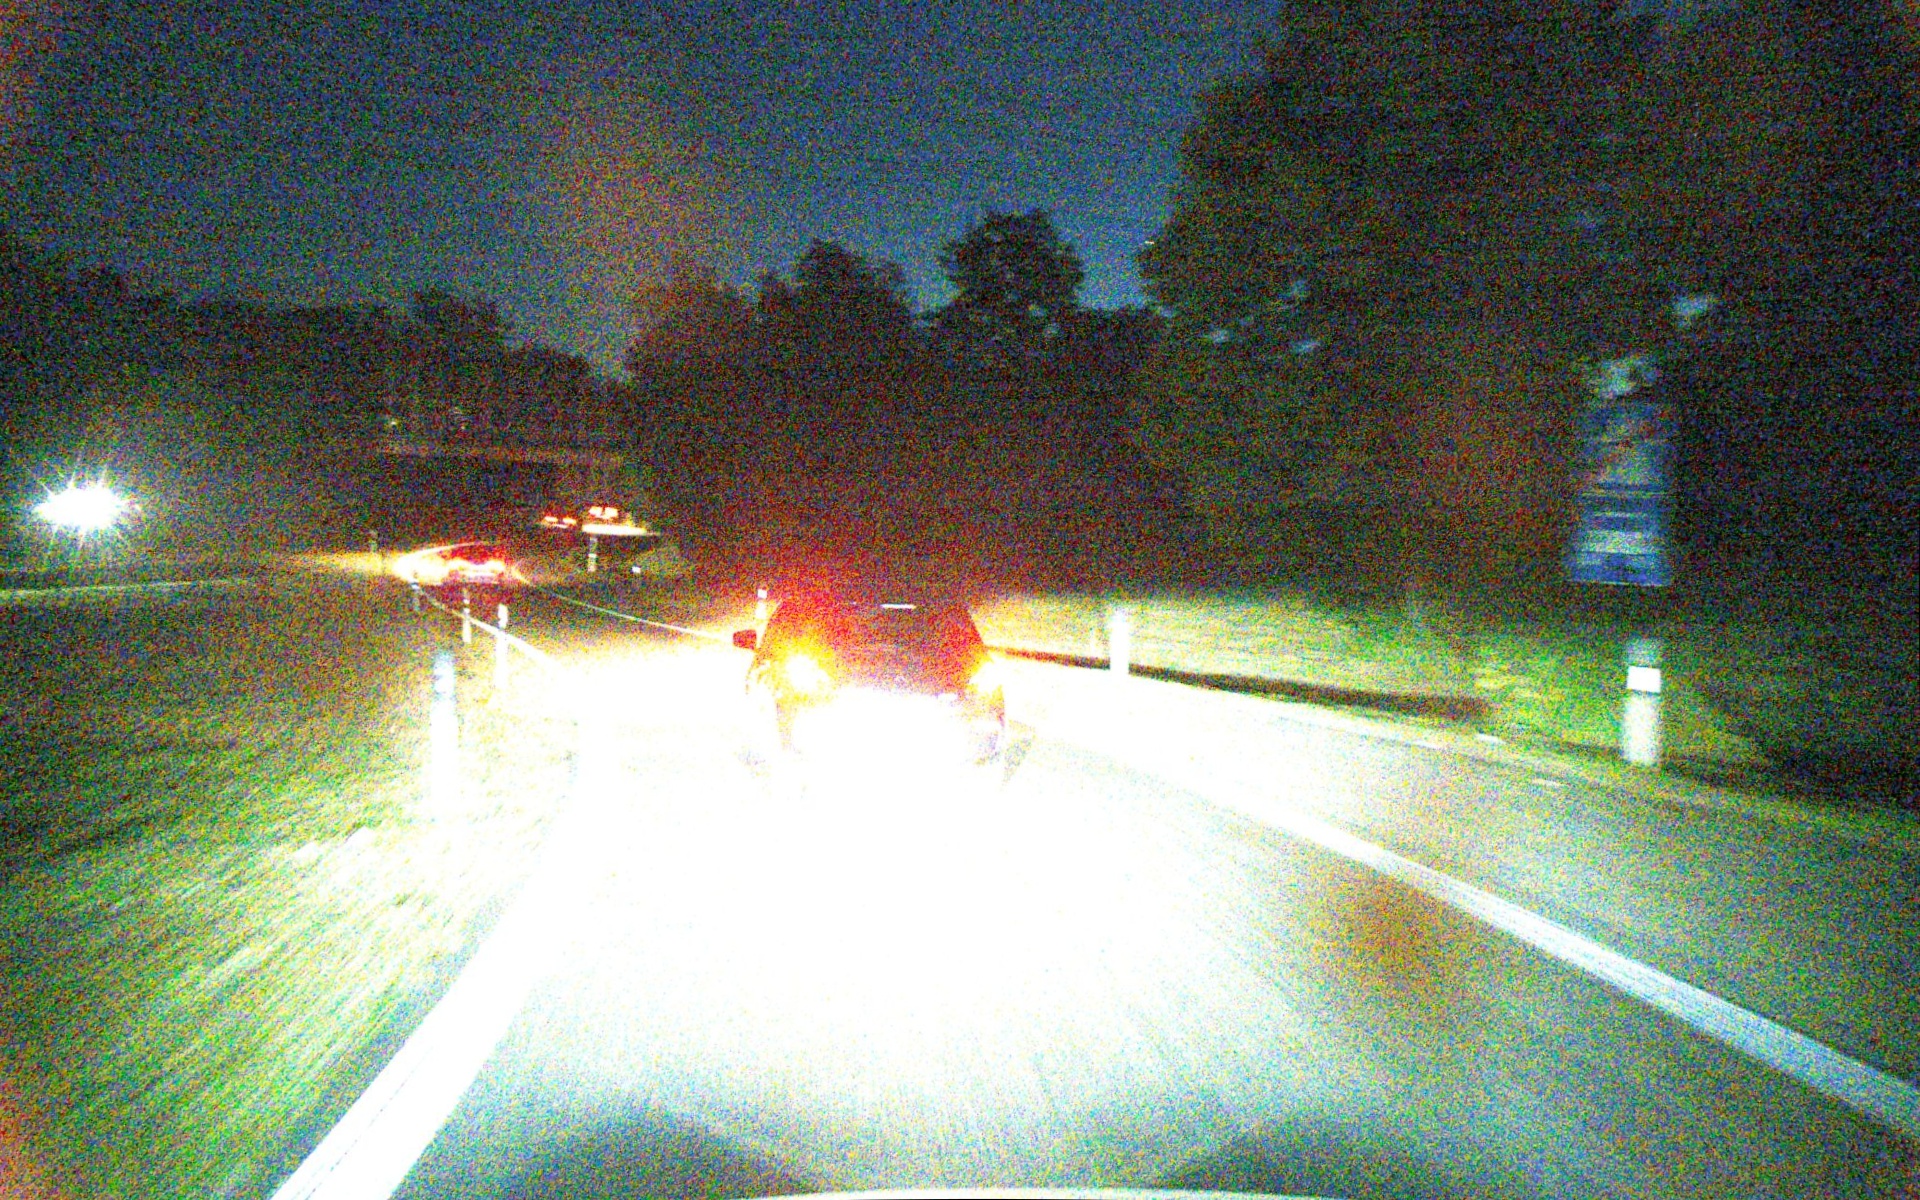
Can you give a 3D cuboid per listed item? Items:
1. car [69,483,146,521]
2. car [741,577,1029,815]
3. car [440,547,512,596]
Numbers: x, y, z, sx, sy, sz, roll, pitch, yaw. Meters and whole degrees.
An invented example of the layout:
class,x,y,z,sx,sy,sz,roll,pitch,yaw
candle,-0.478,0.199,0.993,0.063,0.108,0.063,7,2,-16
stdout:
class,x,y,z,sx,sy,sz,roll,pitch,yaw
car,-44.406,-5.083,86.196,1.773,1.919,4.003,2,3,3
car,-0.724,0.582,12.573,1.661,1.503,3.990,0,1,-11
car,-16.305,-0.981,55.617,1.924,1.564,4.213,-1,2,-22
